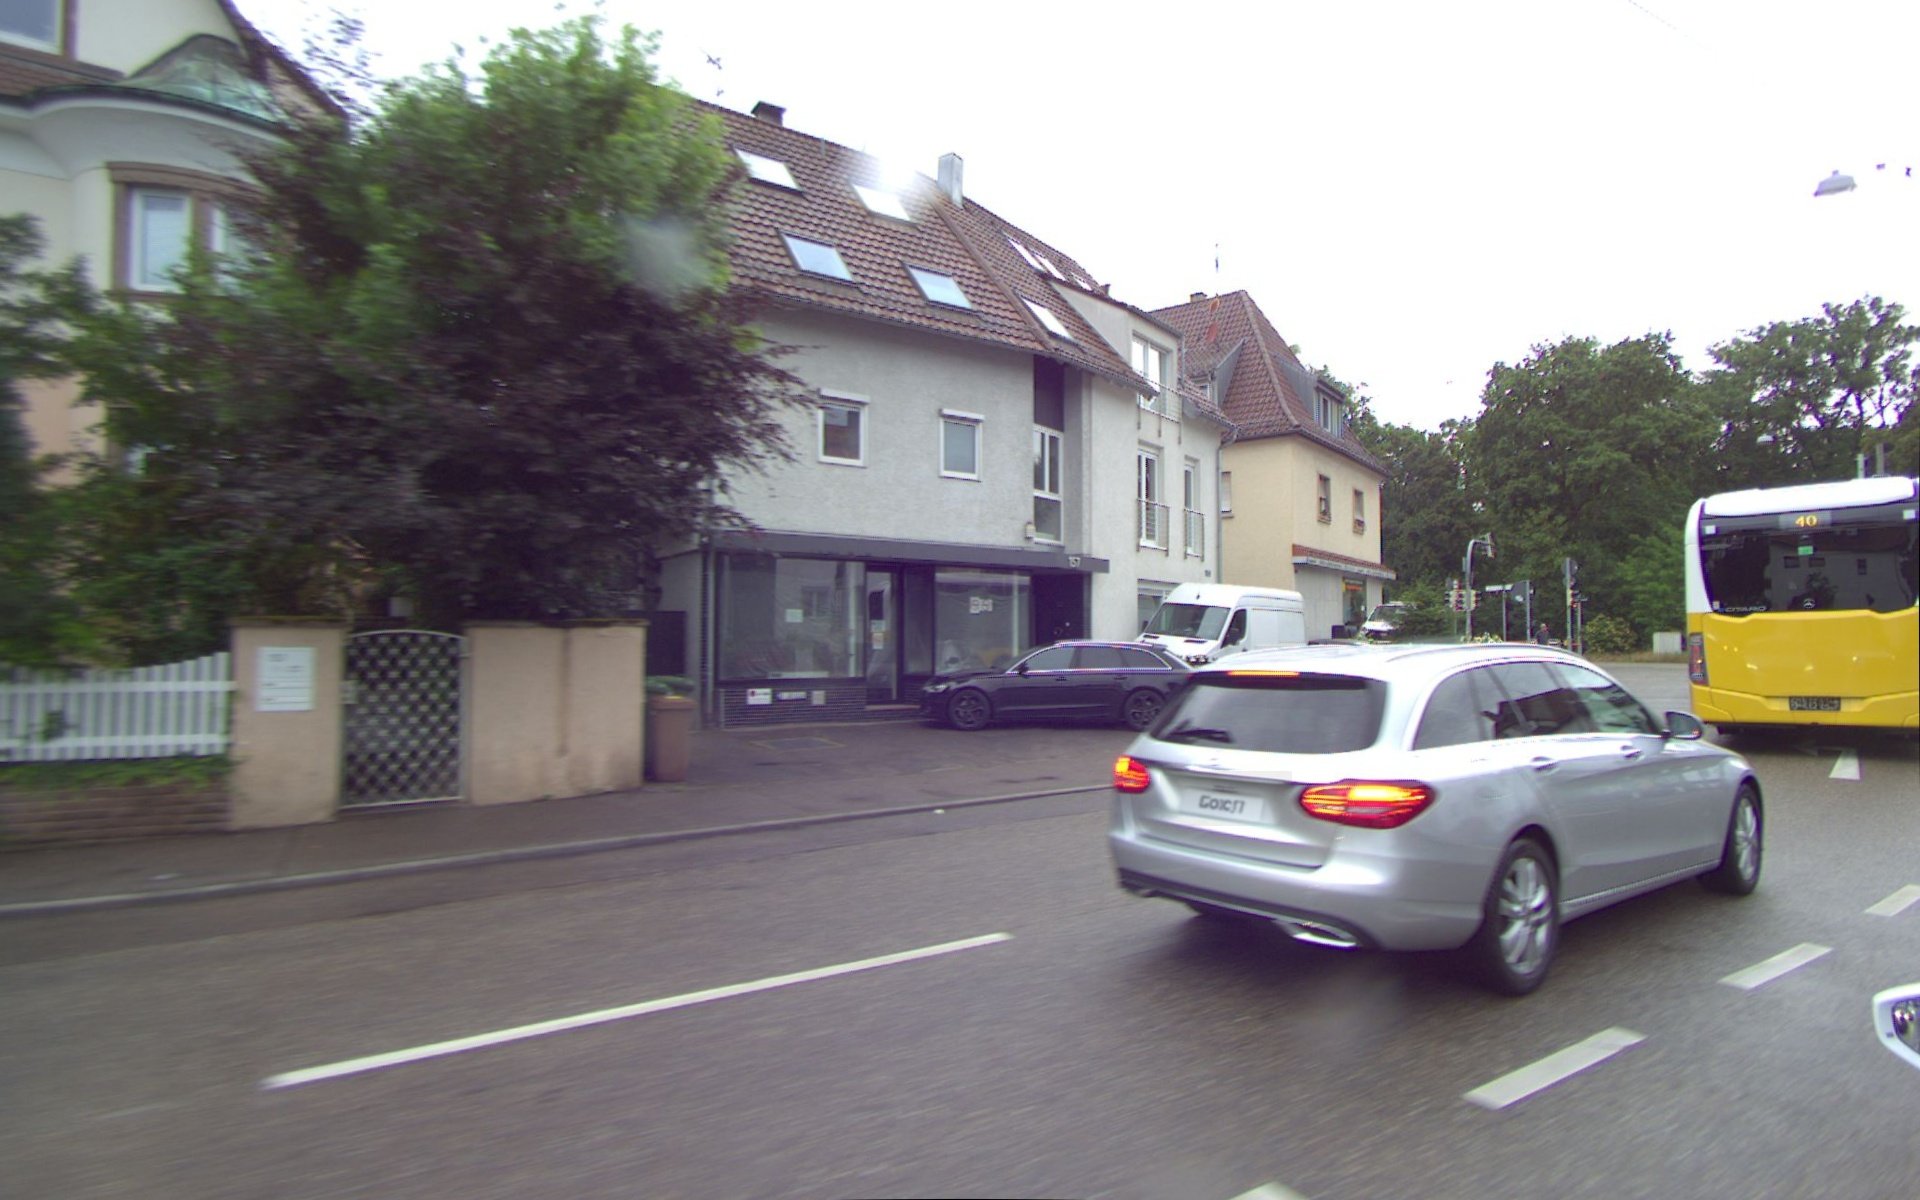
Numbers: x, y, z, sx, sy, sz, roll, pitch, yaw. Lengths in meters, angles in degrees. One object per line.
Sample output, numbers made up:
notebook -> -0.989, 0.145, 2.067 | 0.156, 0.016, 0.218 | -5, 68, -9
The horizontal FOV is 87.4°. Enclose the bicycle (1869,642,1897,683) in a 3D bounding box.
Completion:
bicycle -> 26.625, 1.790, 28.988 | 0.572, 1.111, 2.142 | 0, -1, 42

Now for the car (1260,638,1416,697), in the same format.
car -> 10.288, 1.781, 27.364 | 3.761, 1.362, 1.800 | 1, 0, 30

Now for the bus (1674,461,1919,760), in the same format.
bus -> 13.136, 0.229, 15.497 | 2.646, 3.443, 8.637 | -2, -2, 40

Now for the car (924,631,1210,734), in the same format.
car -> 1.776, 1.354, 17.138 | 4.589, 1.515, 1.804 | 1, 0, 4

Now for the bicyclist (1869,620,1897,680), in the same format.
bicyclist -> 26.594, 1.419, 28.952 | 0.572, 1.674, 1.043 | 0, -1, 42

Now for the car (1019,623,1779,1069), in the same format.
car -> 2.667, 0.918, 5.644 | 4.443, 1.499, 1.980 | 0, -2, -37

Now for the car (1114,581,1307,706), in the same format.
car -> 5.771, 0.922, 22.590 | 1.970, 2.480, 5.467 | 0, -1, 40

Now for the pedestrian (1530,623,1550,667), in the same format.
pedestrian -> 22.216, 1.723, 38.469 | 0.588, 1.639, 0.434 | 1, -1, 19

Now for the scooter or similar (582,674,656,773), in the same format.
scooter or similar -> -3.945, 1.416, 11.650 | 0.751, 1.076, 0.607 | 2, -2, -17

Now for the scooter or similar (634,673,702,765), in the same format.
scooter or similar -> -3.641, 1.470, 12.539 | 0.751, 1.076, 0.607 | 2, -2, -17

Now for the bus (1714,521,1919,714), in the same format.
bus -> 18.859, 0.430, 22.259 | 2.866, 3.443, 8.997 | -2, -2, 40

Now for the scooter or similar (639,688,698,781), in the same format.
scooter or similar -> -3.258, 1.490, 11.233 | 0.583, 0.978, 0.542 | 2, -2, -17

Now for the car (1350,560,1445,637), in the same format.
car -> 15.360, 0.014, 35.086 | 1.967, 2.480, 5.475 | 0, -1, 36
